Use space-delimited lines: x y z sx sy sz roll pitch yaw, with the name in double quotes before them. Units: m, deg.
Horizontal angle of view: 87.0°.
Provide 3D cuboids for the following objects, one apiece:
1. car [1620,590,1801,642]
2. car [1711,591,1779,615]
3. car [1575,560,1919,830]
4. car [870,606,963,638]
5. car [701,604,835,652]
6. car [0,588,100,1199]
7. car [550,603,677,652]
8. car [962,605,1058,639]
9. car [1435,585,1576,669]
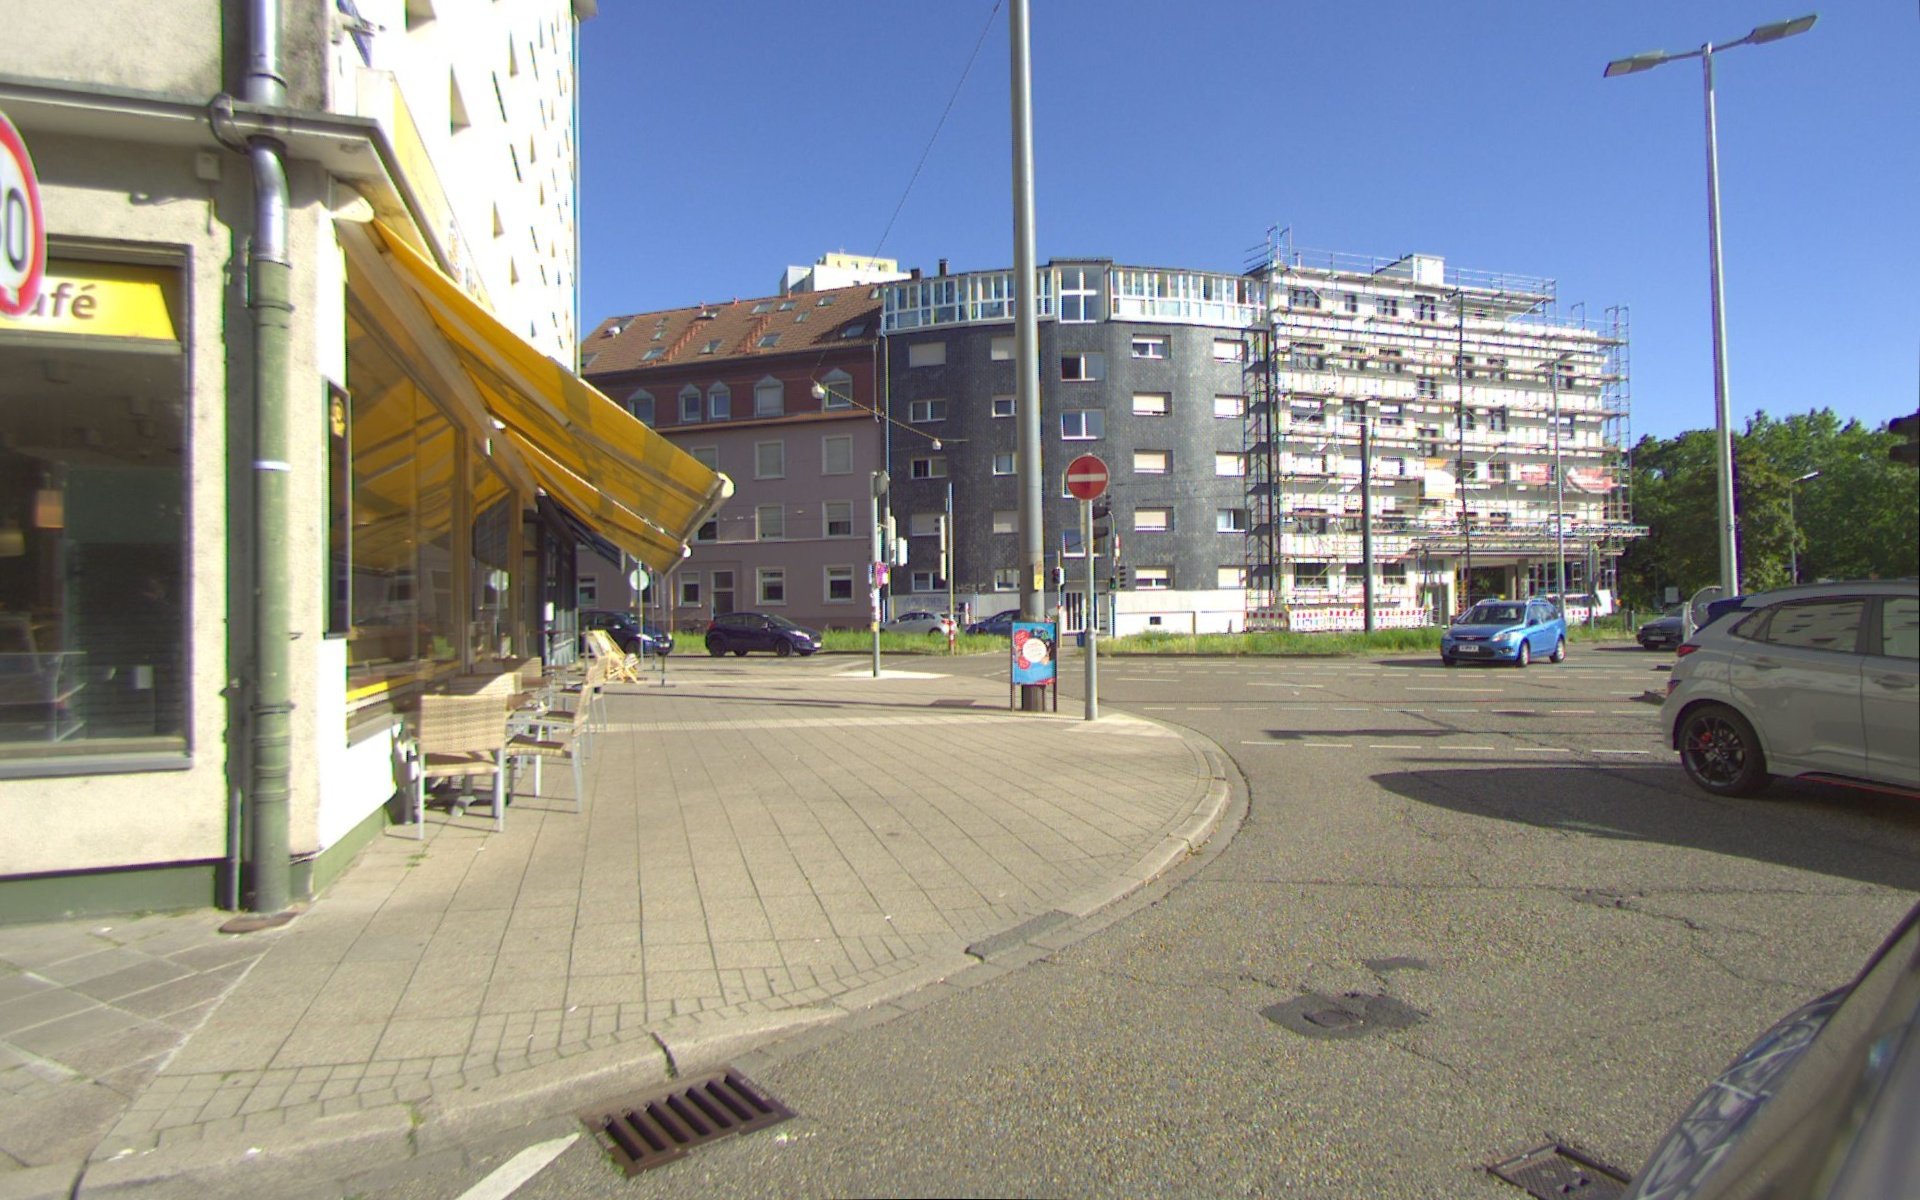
"car" 22.537 0.463 30.432 4.391 1.474 1.877 -1 -1 -11
"car" 53.284 0.210 68.745 3.607 1.604 1.825 -1 0 -16
"car" 6.459 0.548 6.474 1.867 1.572 4.490 -1 0 -8
"car" -1.979 1.002 46.233 3.948 1.434 1.678 -1 -1 19
"car" -6.173 0.916 32.625 3.951 1.472 1.722 -1 -2 21
"car" -3.608 0.752 0.924 3.938 1.516 1.728 -1 -1 -17
"car" -11.748 0.917 34.327 3.951 1.601 1.647 -1 -1 21
"car" 2.230 0.956 44.785 3.948 1.434 1.678 -1 -1 19
"car" 12.986 0.582 23.948 1.867 1.798 4.415 -1 -1 43
